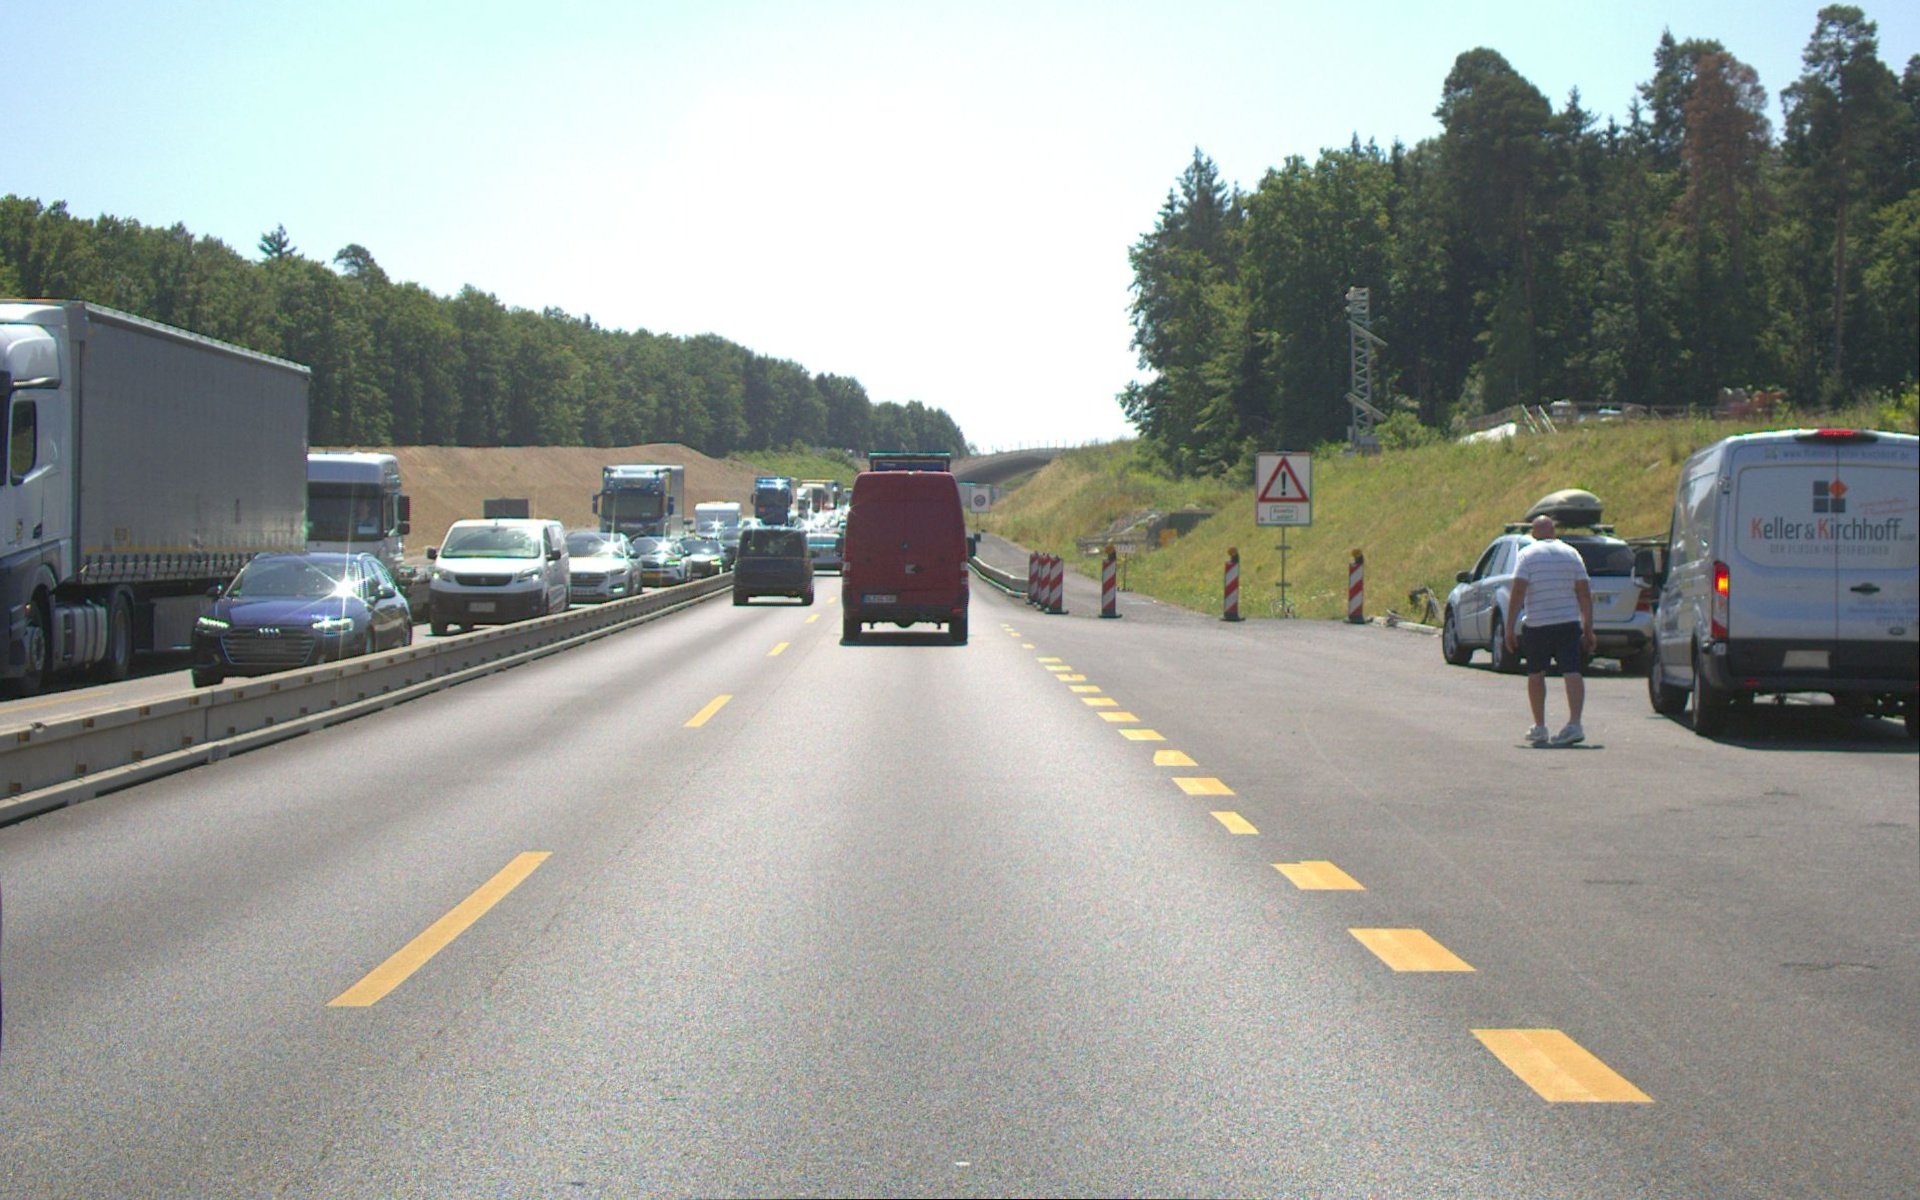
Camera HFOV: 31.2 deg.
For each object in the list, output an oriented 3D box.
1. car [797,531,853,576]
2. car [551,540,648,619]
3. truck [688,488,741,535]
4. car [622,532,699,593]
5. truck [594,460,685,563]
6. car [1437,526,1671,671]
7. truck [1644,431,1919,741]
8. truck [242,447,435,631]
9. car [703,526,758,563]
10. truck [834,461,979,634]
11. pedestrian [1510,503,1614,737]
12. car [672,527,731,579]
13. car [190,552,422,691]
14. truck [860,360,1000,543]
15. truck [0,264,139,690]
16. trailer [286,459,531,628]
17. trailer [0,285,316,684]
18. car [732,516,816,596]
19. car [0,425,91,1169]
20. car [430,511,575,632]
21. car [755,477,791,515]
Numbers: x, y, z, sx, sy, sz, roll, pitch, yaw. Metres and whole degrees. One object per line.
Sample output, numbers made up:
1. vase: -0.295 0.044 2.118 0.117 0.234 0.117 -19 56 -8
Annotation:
1. car: -4.758 -1.646 121.585 1.831 1.517 3.961 1 0 -1
2. car: -7.705 -0.433 73.767 1.724 1.625 4.391 1 0 -2
3. truck: -13.212 -4.769 185.242 2.400 2.350 5.227 1 0 0
4. car: -8.021 -0.992 92.215 1.625 1.552 4.068 1 0 1
5. truck: -12.064 -3.292 130.057 2.509 3.605 9.641 1 0 0
6. car: 7.512 -0.068 43.961 1.774 1.671 4.856 1 2 -4
7. truck: 7.428 -0.171 30.455 2.130 2.448 5.924 1 1 6
8. truck: -10.773 -1.019 59.984 2.398 3.048 5.062 1 0 0
9. car: -8.873 -2.129 133.082 1.841 1.323 3.942 1 0 1
10. truck: -0.862 -0.797 54.756 2.153 2.581 5.333 1 0 -1
11. pedestrian: 4.762 0.156 27.220 0.723 1.822 0.720 1 0 4
12. car: -8.248 -1.482 109.739 1.683 1.590 3.224 1 0 -1
13. car: -6.940 0.217 36.889 1.726 1.382 4.484 1 0 -1
14. truck: -1.067 -4.880 118.168 4.400 5.477 16.603 1 0 -1
15. truck: -10.352 -1.180 34.975 2.768 4.030 4.943 1 0 0
16. trailer: -10.634 -1.076 67.997 2.346 2.922 15.270 1 1 0
17. trailer: -10.456 -1.319 41.993 2.790 4.061 13.712 1 1 -1
18. car: -4.351 -1.051 81.106 1.751 1.818 4.783 1 1 -1
19. car: -3.286 0.500 6.628 1.874 1.845 5.479 1 1 -1
20. car: -7.635 -0.460 57.794 1.825 1.920 5.264 1 0 -1
21. car: -13.285 -7.379 244.324 2.385 2.571 4.000 1 0 -2
